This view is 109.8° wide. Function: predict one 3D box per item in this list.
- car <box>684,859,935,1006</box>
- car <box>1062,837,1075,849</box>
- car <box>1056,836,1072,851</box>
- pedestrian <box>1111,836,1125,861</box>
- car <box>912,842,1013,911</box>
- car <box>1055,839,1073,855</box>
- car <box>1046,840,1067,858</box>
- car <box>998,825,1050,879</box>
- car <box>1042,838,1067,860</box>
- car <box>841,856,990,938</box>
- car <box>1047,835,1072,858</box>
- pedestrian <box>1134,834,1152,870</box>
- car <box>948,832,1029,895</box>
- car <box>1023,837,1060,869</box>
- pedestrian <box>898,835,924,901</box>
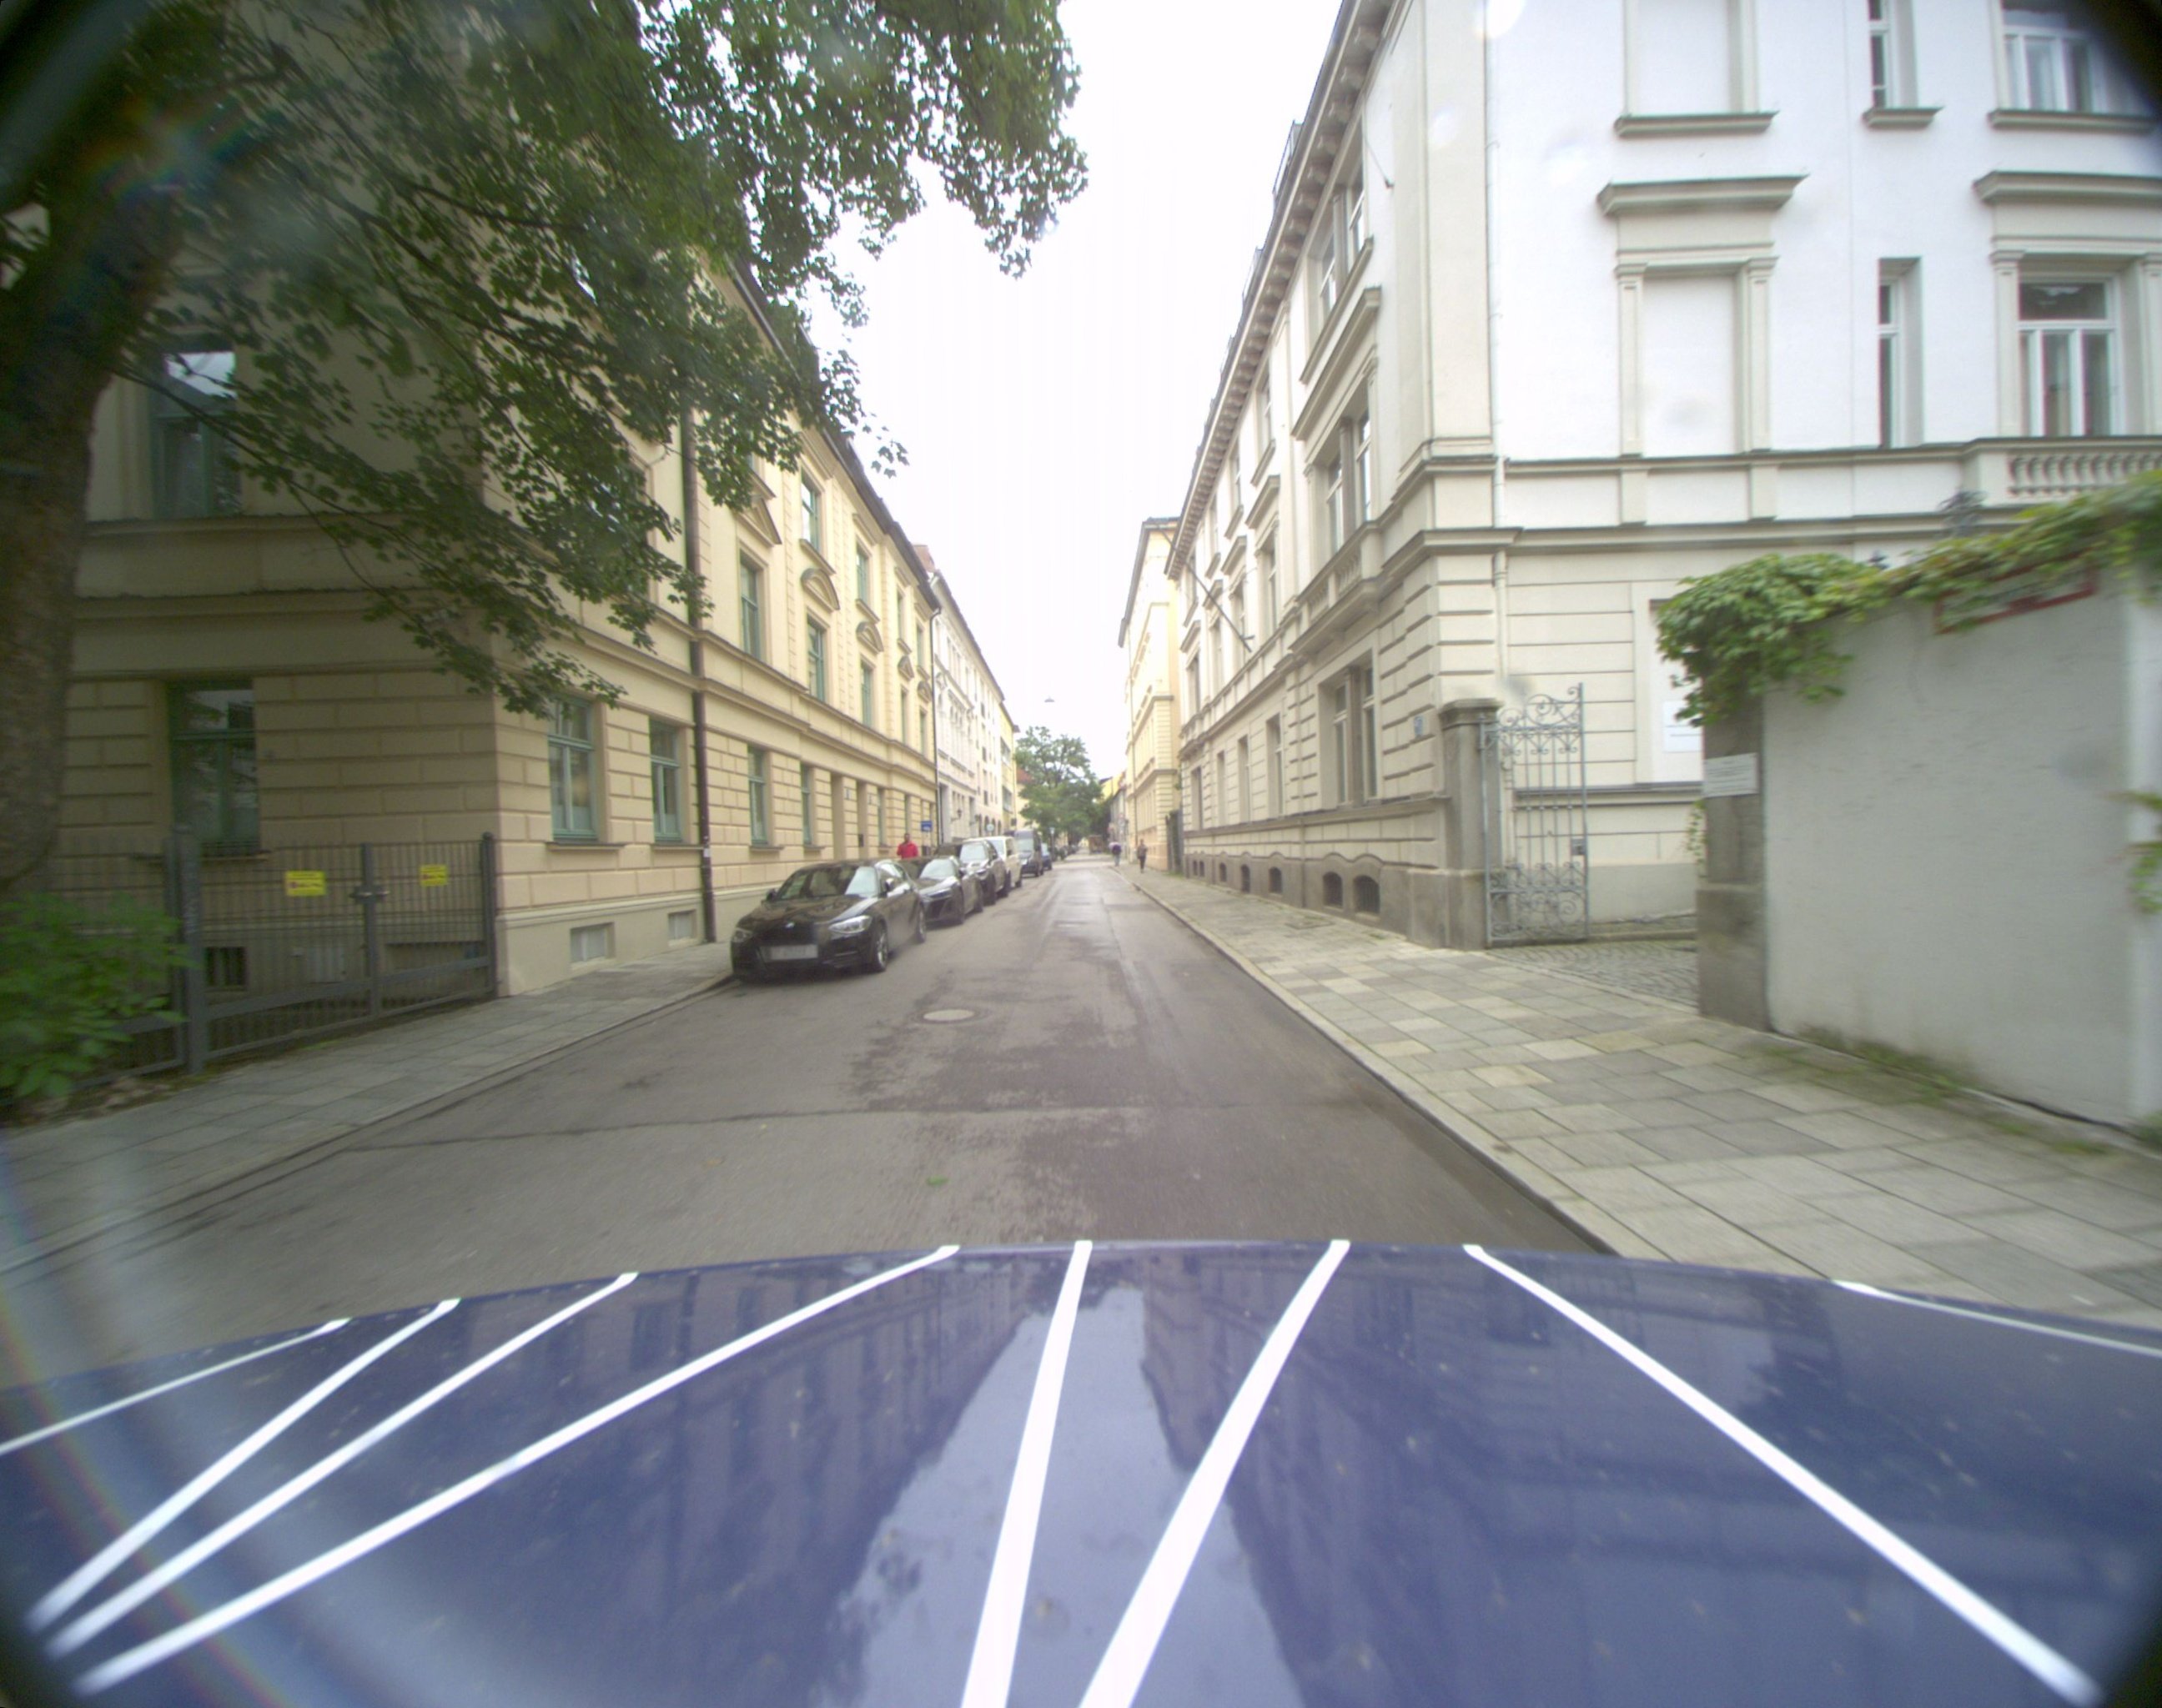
[{"bbox_3d":[-3.431,0.881,10.660,1.860,1.367,4.508,-4,1,-1],"label":"car"},{"bbox_3d":[-2.241,-2.004,137.783,2.014,1.970,5.089,-6,1,2],"label":"car"},{"bbox_3d":[-2.554,-1.634,117.510,2.014,1.970,5.089,-6,1,2],"label":"car"},{"bbox_3d":[2.601,-0.400,53.606,0.920,1.742,1.066,-2,1,0],"label":"pedestrian"},{"bbox_3d":[-3.153,0.526,21.185,1.998,1.677,4.509,-2,1,1],"label":"car"},{"bbox_3d":[-2.341,-0.953,106.386,2.014,1.970,5.089,-6,1,2],"label":"car"},{"bbox_3d":[-2.918,-0.640,91.288,2.014,1.970,5.089,-6,1,2],"label":"car"},{"bbox_3d":[-2.957,-0.157,40.297,2.014,2.479,5.089,-6,1,2],"label":"car"},{"bbox_3d":[-2.635,-0.554,76.857,2.014,1.914,5.089,-6,1,2],"label":"car"},{"bbox_3d":[-3.227,0.778,15.876,1.998,1.306,4.592,-2,1,1],"label":"car"},{"bbox_3d":[-2.356,-0.870,83.317,2.242,2.247,5.089,-6,1,2],"label":"car"},{"bbox_3d":[3.123,-0.098,38.127,0.766,1.742,0.970,-2,2,0],"label":"pedestrian"},{"bbox_3d":[-3.180,0.267,27.200,1.998,2.002,5.063,-2,1,3],"label":"car"},{"bbox_3d":[-2.756,-0.139,53.717,2.014,1.989,5.089,-6,1,2],"label":"car"},{"bbox_3d":[-5.121,0.410,22.939,0.581,1.967,0.455,-2,2,0],"label":"pedestrian"}]
